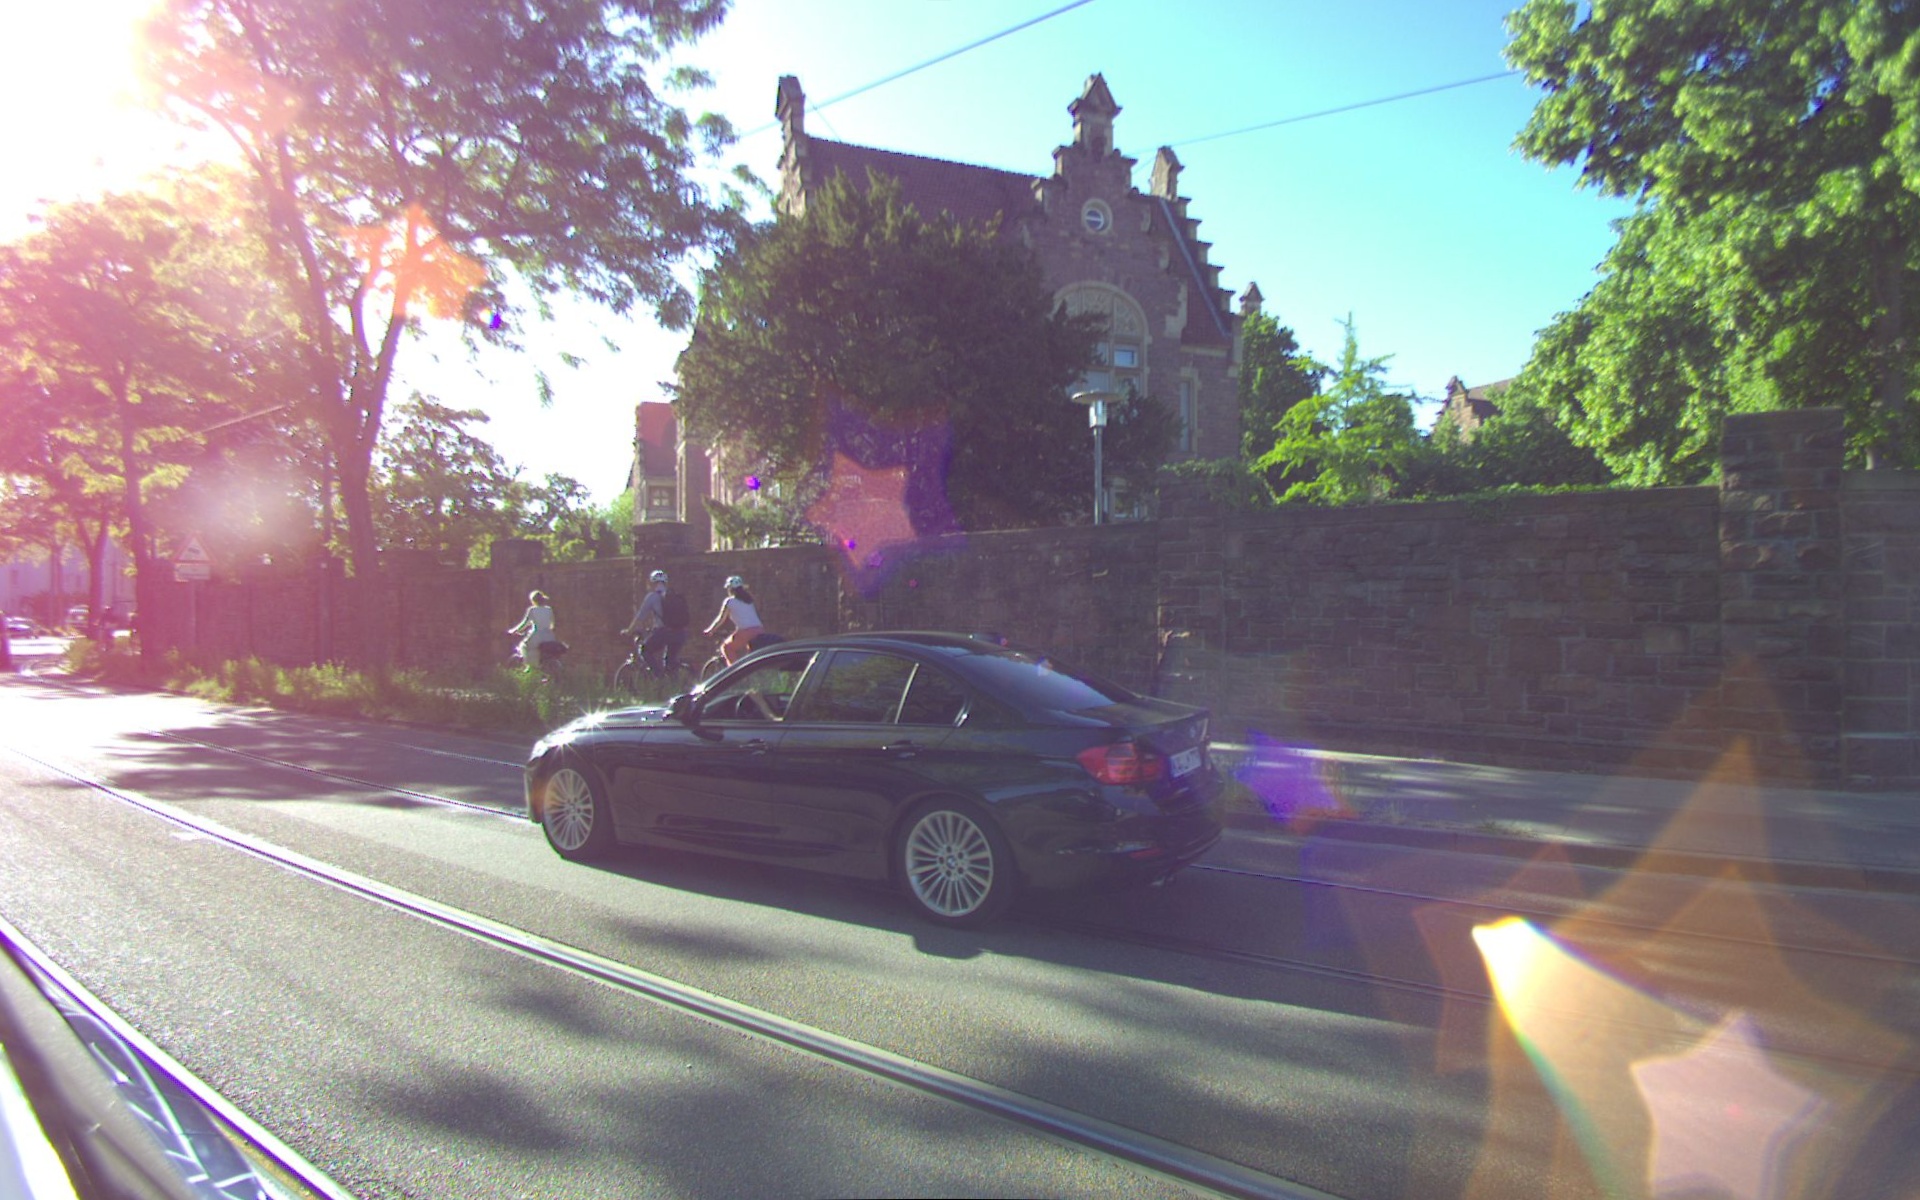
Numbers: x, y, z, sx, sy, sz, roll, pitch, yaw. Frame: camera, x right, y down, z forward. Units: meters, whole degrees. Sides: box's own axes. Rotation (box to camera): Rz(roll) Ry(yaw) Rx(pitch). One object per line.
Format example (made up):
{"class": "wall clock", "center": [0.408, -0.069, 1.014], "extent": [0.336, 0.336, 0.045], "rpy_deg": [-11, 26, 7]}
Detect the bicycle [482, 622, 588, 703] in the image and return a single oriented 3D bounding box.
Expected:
{"class": "bicycle", "center": [-6.925, 0.978, 16.430], "extent": [2.087, 1.200, 0.737], "rpy_deg": [-1, 0, 41]}

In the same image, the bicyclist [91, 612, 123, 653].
{"class": "bicyclist", "center": [-27.975, 1.055, 33.174], "extent": [0.871, 1.294, 0.676], "rpy_deg": [-1, 0, 42]}

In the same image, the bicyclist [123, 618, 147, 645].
{"class": "bicyclist", "center": [-35.493, 1.344, 43.539], "extent": [0.673, 1.121, 0.696], "rpy_deg": [-1, 0, -30]}

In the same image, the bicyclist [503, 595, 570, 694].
{"class": "bicyclist", "center": [-6.836, 0.697, 16.347], "extent": [0.751, 1.546, 0.734], "rpy_deg": [-1, 0, 41]}

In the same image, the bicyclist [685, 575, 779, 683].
{"class": "bicyclist", "center": [-3.076, 0.376, 13.642], "extent": [1.060, 1.401, 0.724], "rpy_deg": [-1, 0, 39]}

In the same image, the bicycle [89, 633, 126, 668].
{"class": "bicycle", "center": [-27.931, 1.646, 33.142], "extent": [1.735, 1.086, 0.676], "rpy_deg": [-1, 0, 41]}

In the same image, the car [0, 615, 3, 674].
{"class": "car", "center": [-31.482, 1.382, 31.869], "extent": [4.002, 1.824, 1.806], "rpy_deg": [-1, -1, 45]}

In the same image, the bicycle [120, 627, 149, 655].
{"class": "bicycle", "center": [-35.486, 1.742, 43.533], "extent": [0.673, 1.121, 1.742], "rpy_deg": [-1, 0, -30]}

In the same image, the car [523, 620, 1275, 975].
{"class": "car", "center": [-0.498, 0.857, 6.004], "extent": [4.244, 1.433, 1.723], "rpy_deg": [-1, -1, 31]}

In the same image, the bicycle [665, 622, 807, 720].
{"class": "bicycle", "center": [-3.040, 0.912, 13.618], "extent": [2.086, 1.200, 0.724], "rpy_deg": [-1, 0, 39]}

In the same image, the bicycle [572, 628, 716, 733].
{"class": "bicycle", "center": [-4.051, 0.973, 12.894], "extent": [2.102, 1.200, 0.764], "rpy_deg": [-1, 0, 41]}

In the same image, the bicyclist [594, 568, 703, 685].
{"class": "bicyclist", "center": [-3.951, 0.317, 12.806], "extent": [1.271, 1.401, 0.758], "rpy_deg": [-1, 0, 41]}
